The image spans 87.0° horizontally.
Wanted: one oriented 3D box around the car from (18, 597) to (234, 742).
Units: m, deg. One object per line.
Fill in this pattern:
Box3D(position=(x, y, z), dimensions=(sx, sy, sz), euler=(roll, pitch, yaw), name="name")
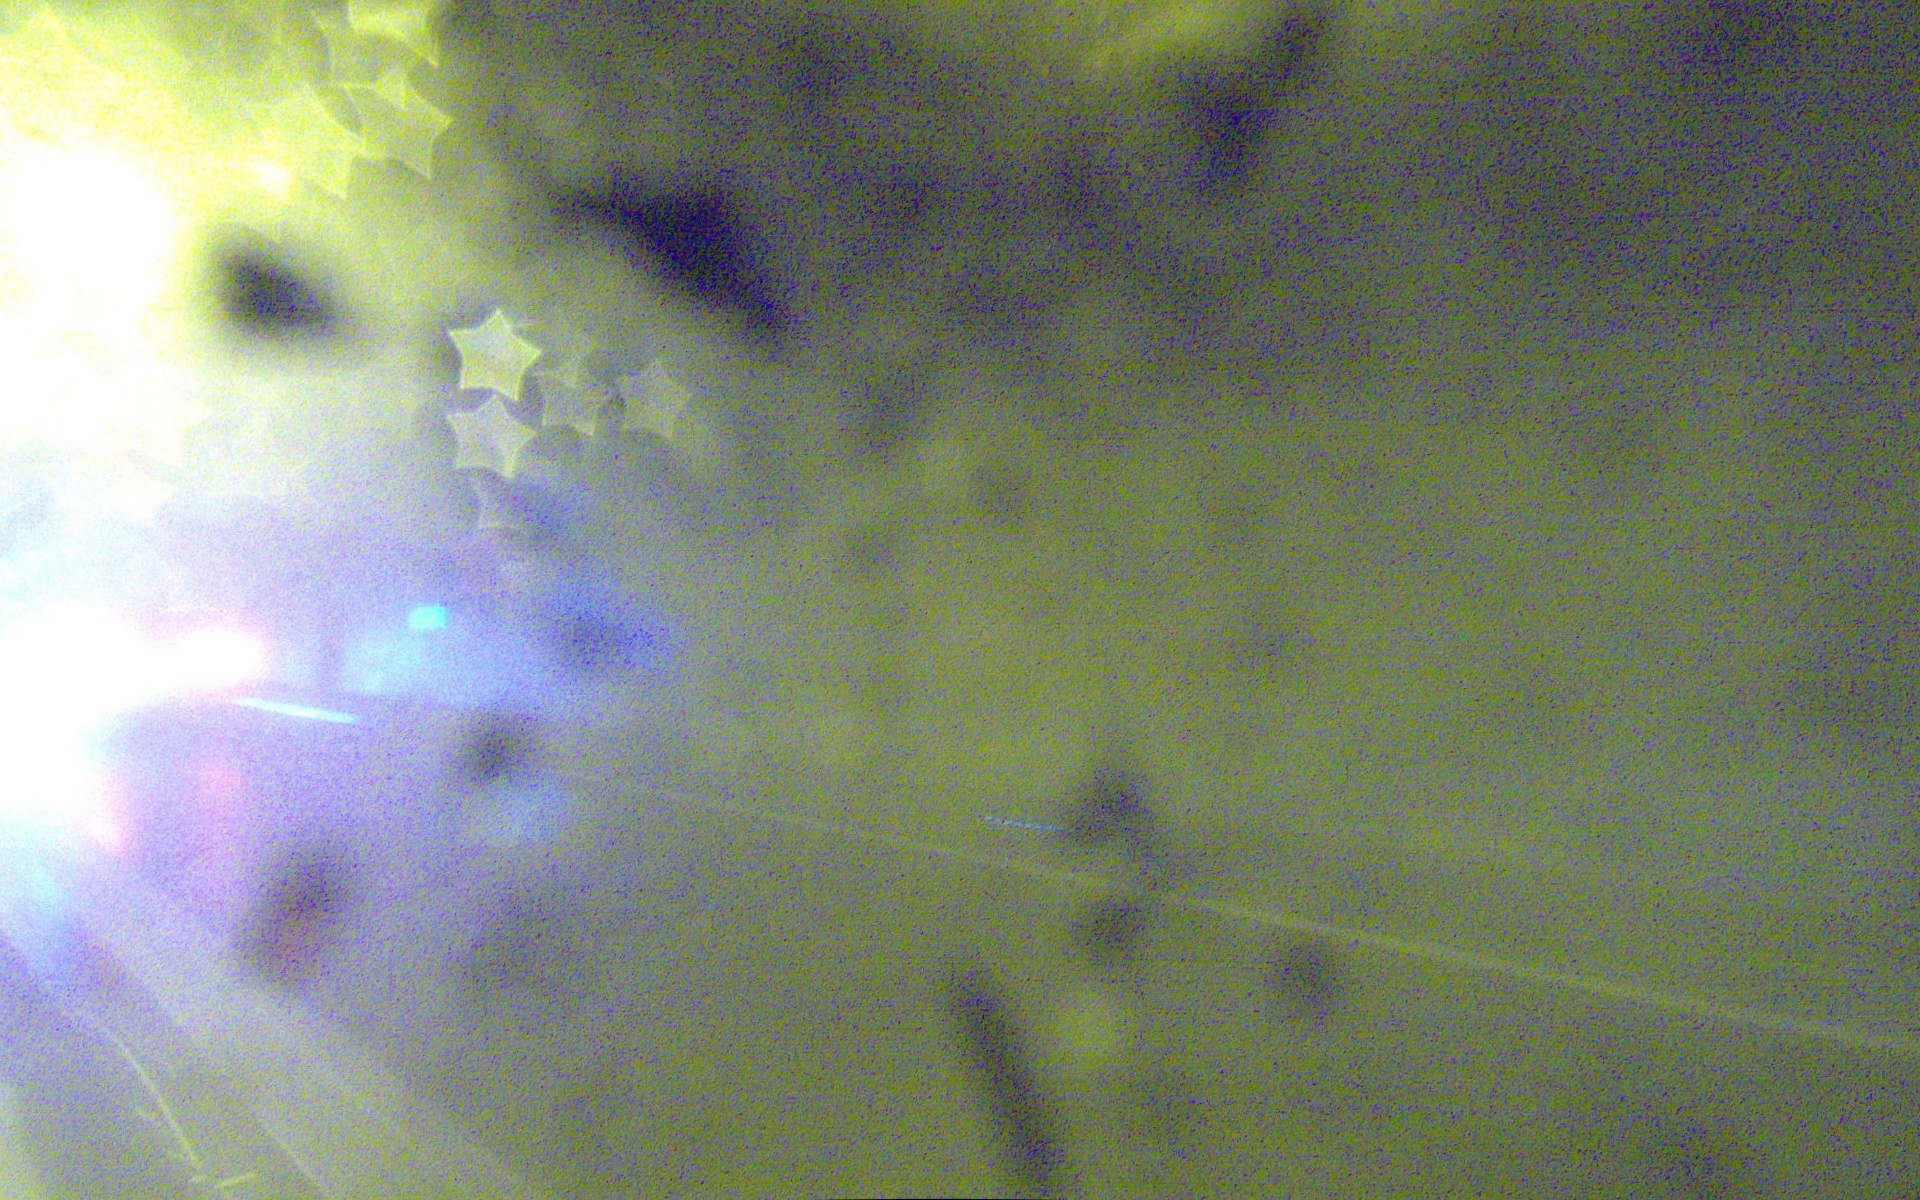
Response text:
Box3D(position=(-11.467, 0.851, 13.812), dimensions=(4.126, 1.689, 1.679), euler=(-1, -1, 42), name="car")
